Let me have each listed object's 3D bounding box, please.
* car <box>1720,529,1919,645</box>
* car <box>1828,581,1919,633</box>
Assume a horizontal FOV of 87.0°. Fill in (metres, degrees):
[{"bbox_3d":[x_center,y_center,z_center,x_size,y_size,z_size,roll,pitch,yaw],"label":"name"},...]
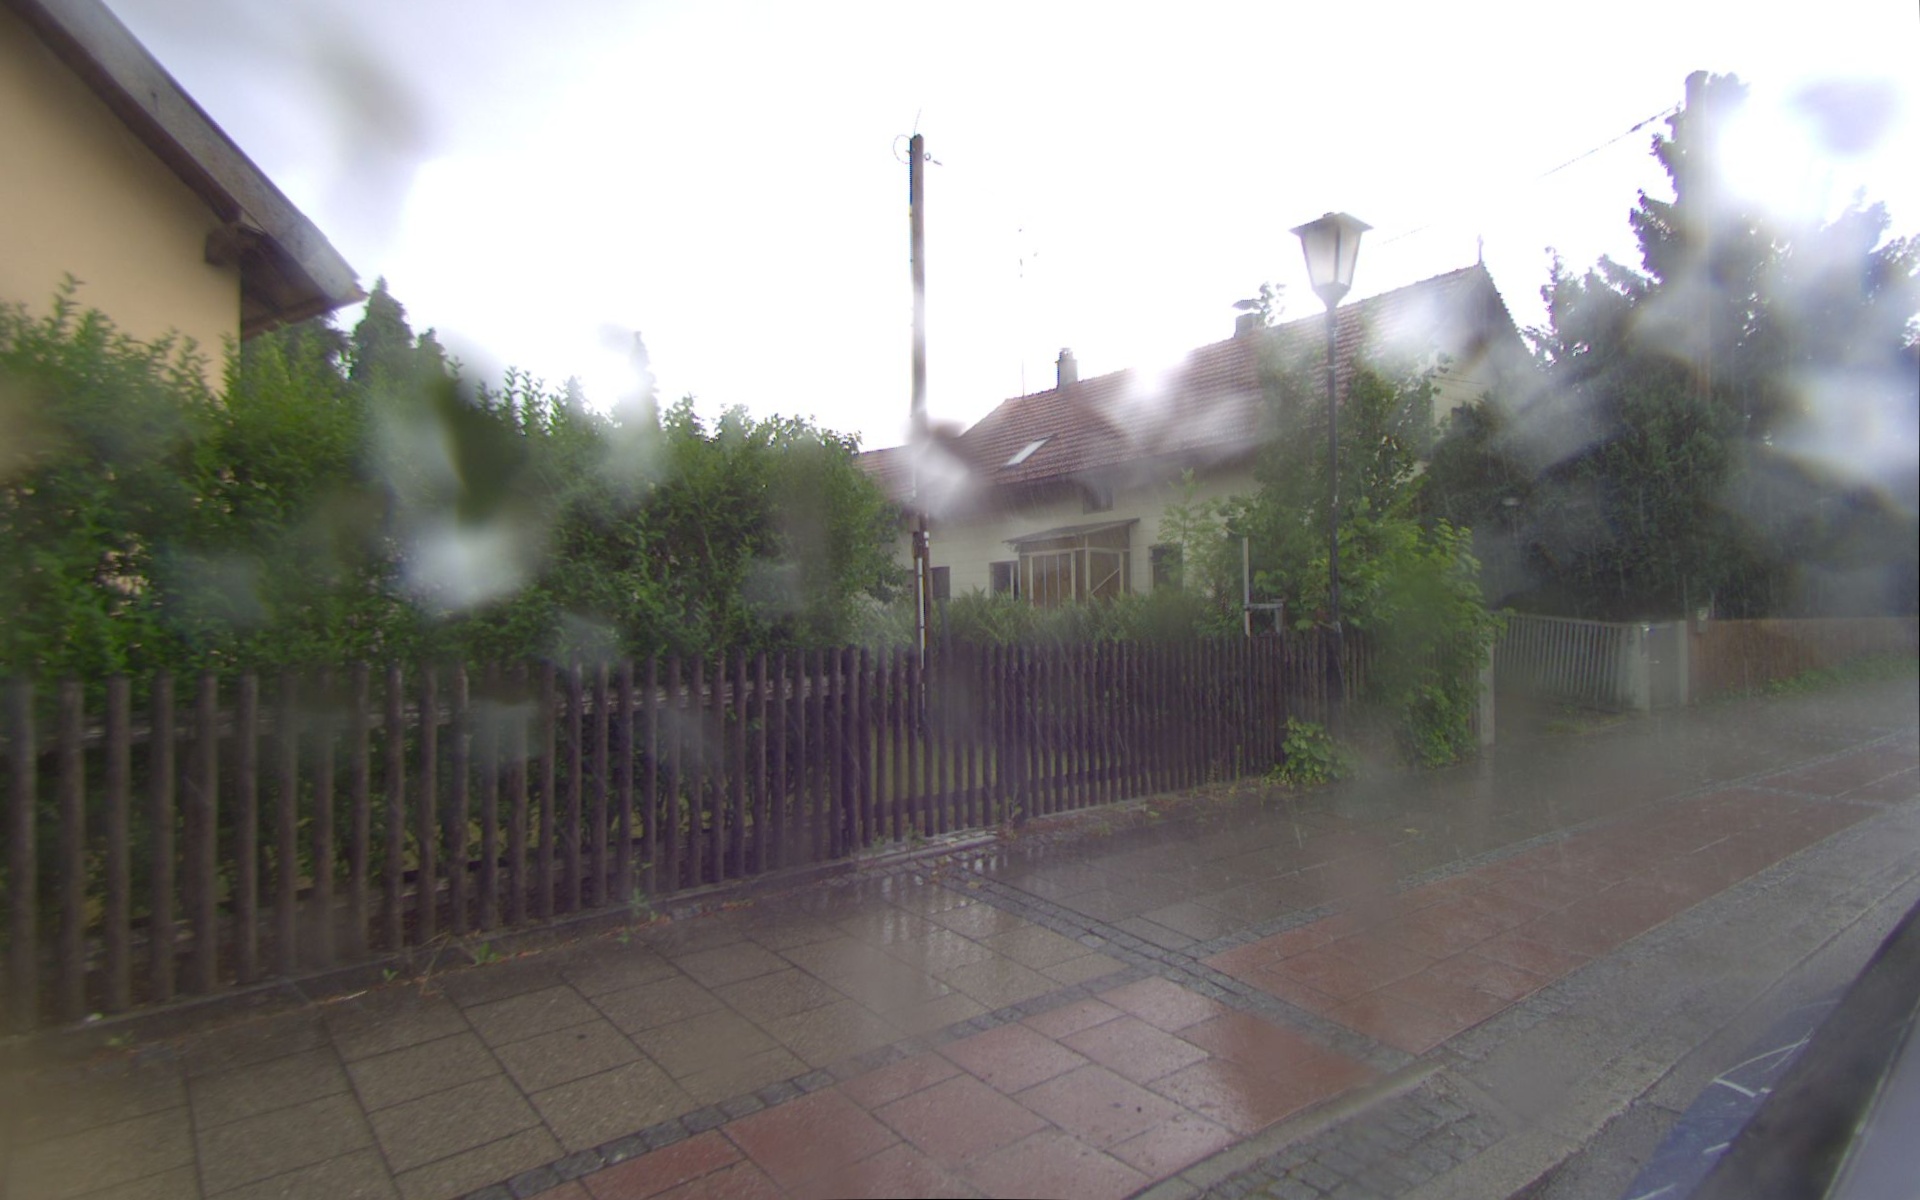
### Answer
[{"bbox_3d":[22.736,-0.374,25.624,1.967,2.761,5.309,-1,2,-43],"label":"car"},{"bbox_3d":[28.179,0.215,29.278,1.799,1.438,4.436,-1,3,-42],"label":"car"}]
